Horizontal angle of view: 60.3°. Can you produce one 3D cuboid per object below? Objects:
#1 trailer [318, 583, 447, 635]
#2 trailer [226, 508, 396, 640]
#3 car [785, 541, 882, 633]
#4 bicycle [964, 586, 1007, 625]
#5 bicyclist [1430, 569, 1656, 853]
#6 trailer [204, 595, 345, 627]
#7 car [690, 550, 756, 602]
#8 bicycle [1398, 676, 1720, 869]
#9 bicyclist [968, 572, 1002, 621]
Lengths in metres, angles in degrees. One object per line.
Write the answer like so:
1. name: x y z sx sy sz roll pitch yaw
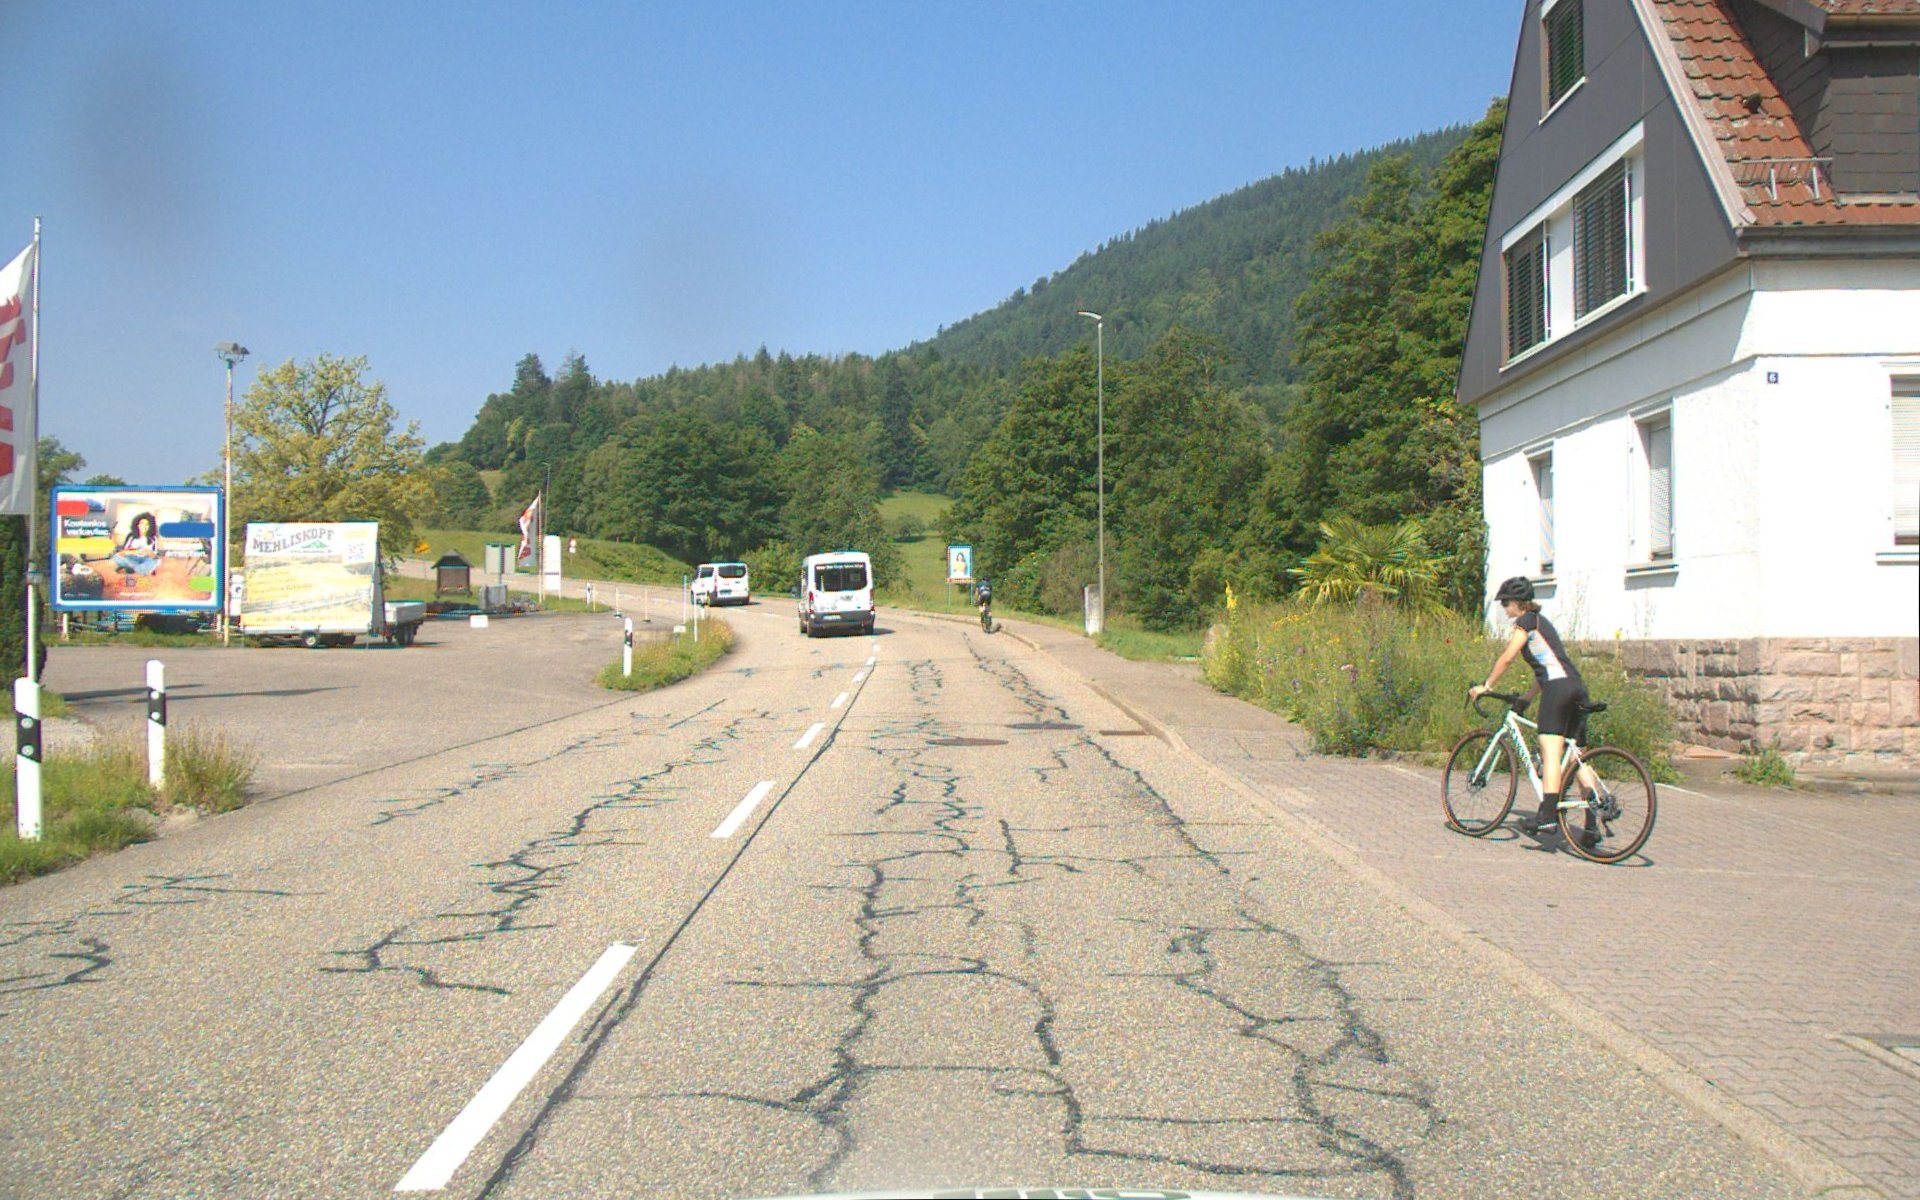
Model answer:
1. trailer: -15.217 0.234 43.912 1.955 1.248 5.539 1 0 -6
2. trailer: -15.292 -0.600 39.121 3.328 2.963 1.880 1 0 -9
3. car: -3.950 -0.467 50.809 2.184 2.569 4.970 -3 3 -12
4. bicycle: 0.727 0.150 48.203 0.571 1.053 1.979 -4 2 -19
5. bicyclist: 3.689 0.664 10.536 0.680 1.661 1.130 2 2 -29
6. trailer: -22.615 0.373 54.669 3.854 0.956 1.866 1 -1 -4
7. car: -11.546 -1.222 80.248 2.189 2.326 4.958 -3 3 -19
8. bicycle: 3.732 1.036 10.485 0.680 0.934 1.932 2 2 -28
9. bicyclist: 0.722 -0.117 48.158 0.571 1.365 1.139 -4 2 -19
